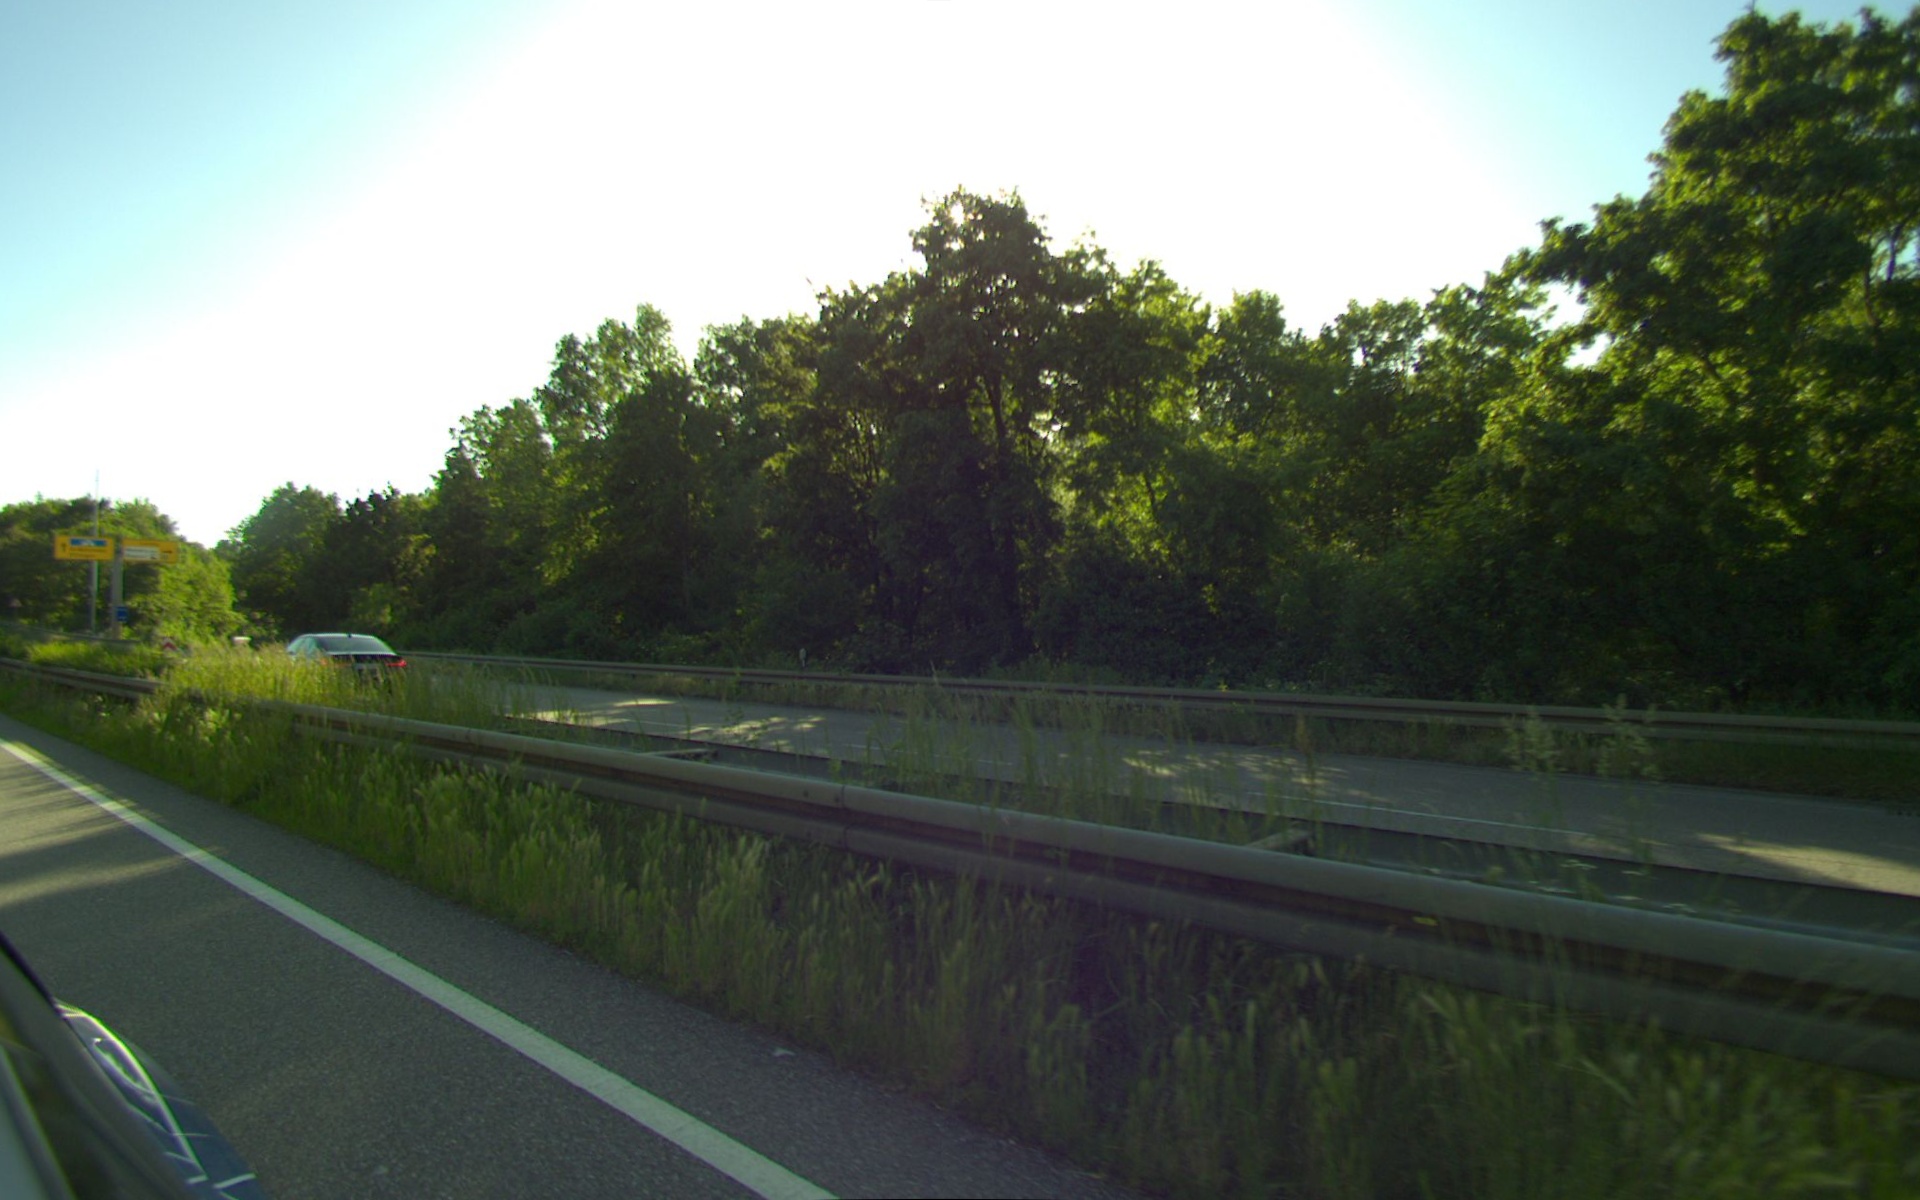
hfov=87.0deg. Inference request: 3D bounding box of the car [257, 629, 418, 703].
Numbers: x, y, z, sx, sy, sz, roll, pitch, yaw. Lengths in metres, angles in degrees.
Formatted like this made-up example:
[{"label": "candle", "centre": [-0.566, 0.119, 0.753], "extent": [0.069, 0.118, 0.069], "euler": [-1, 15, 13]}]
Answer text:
[{"label": "car", "centre": [-13.444, 1.349, 21.730], "extent": [4.552, 1.414, 1.762], "euler": [-2, -3, 43]}]
